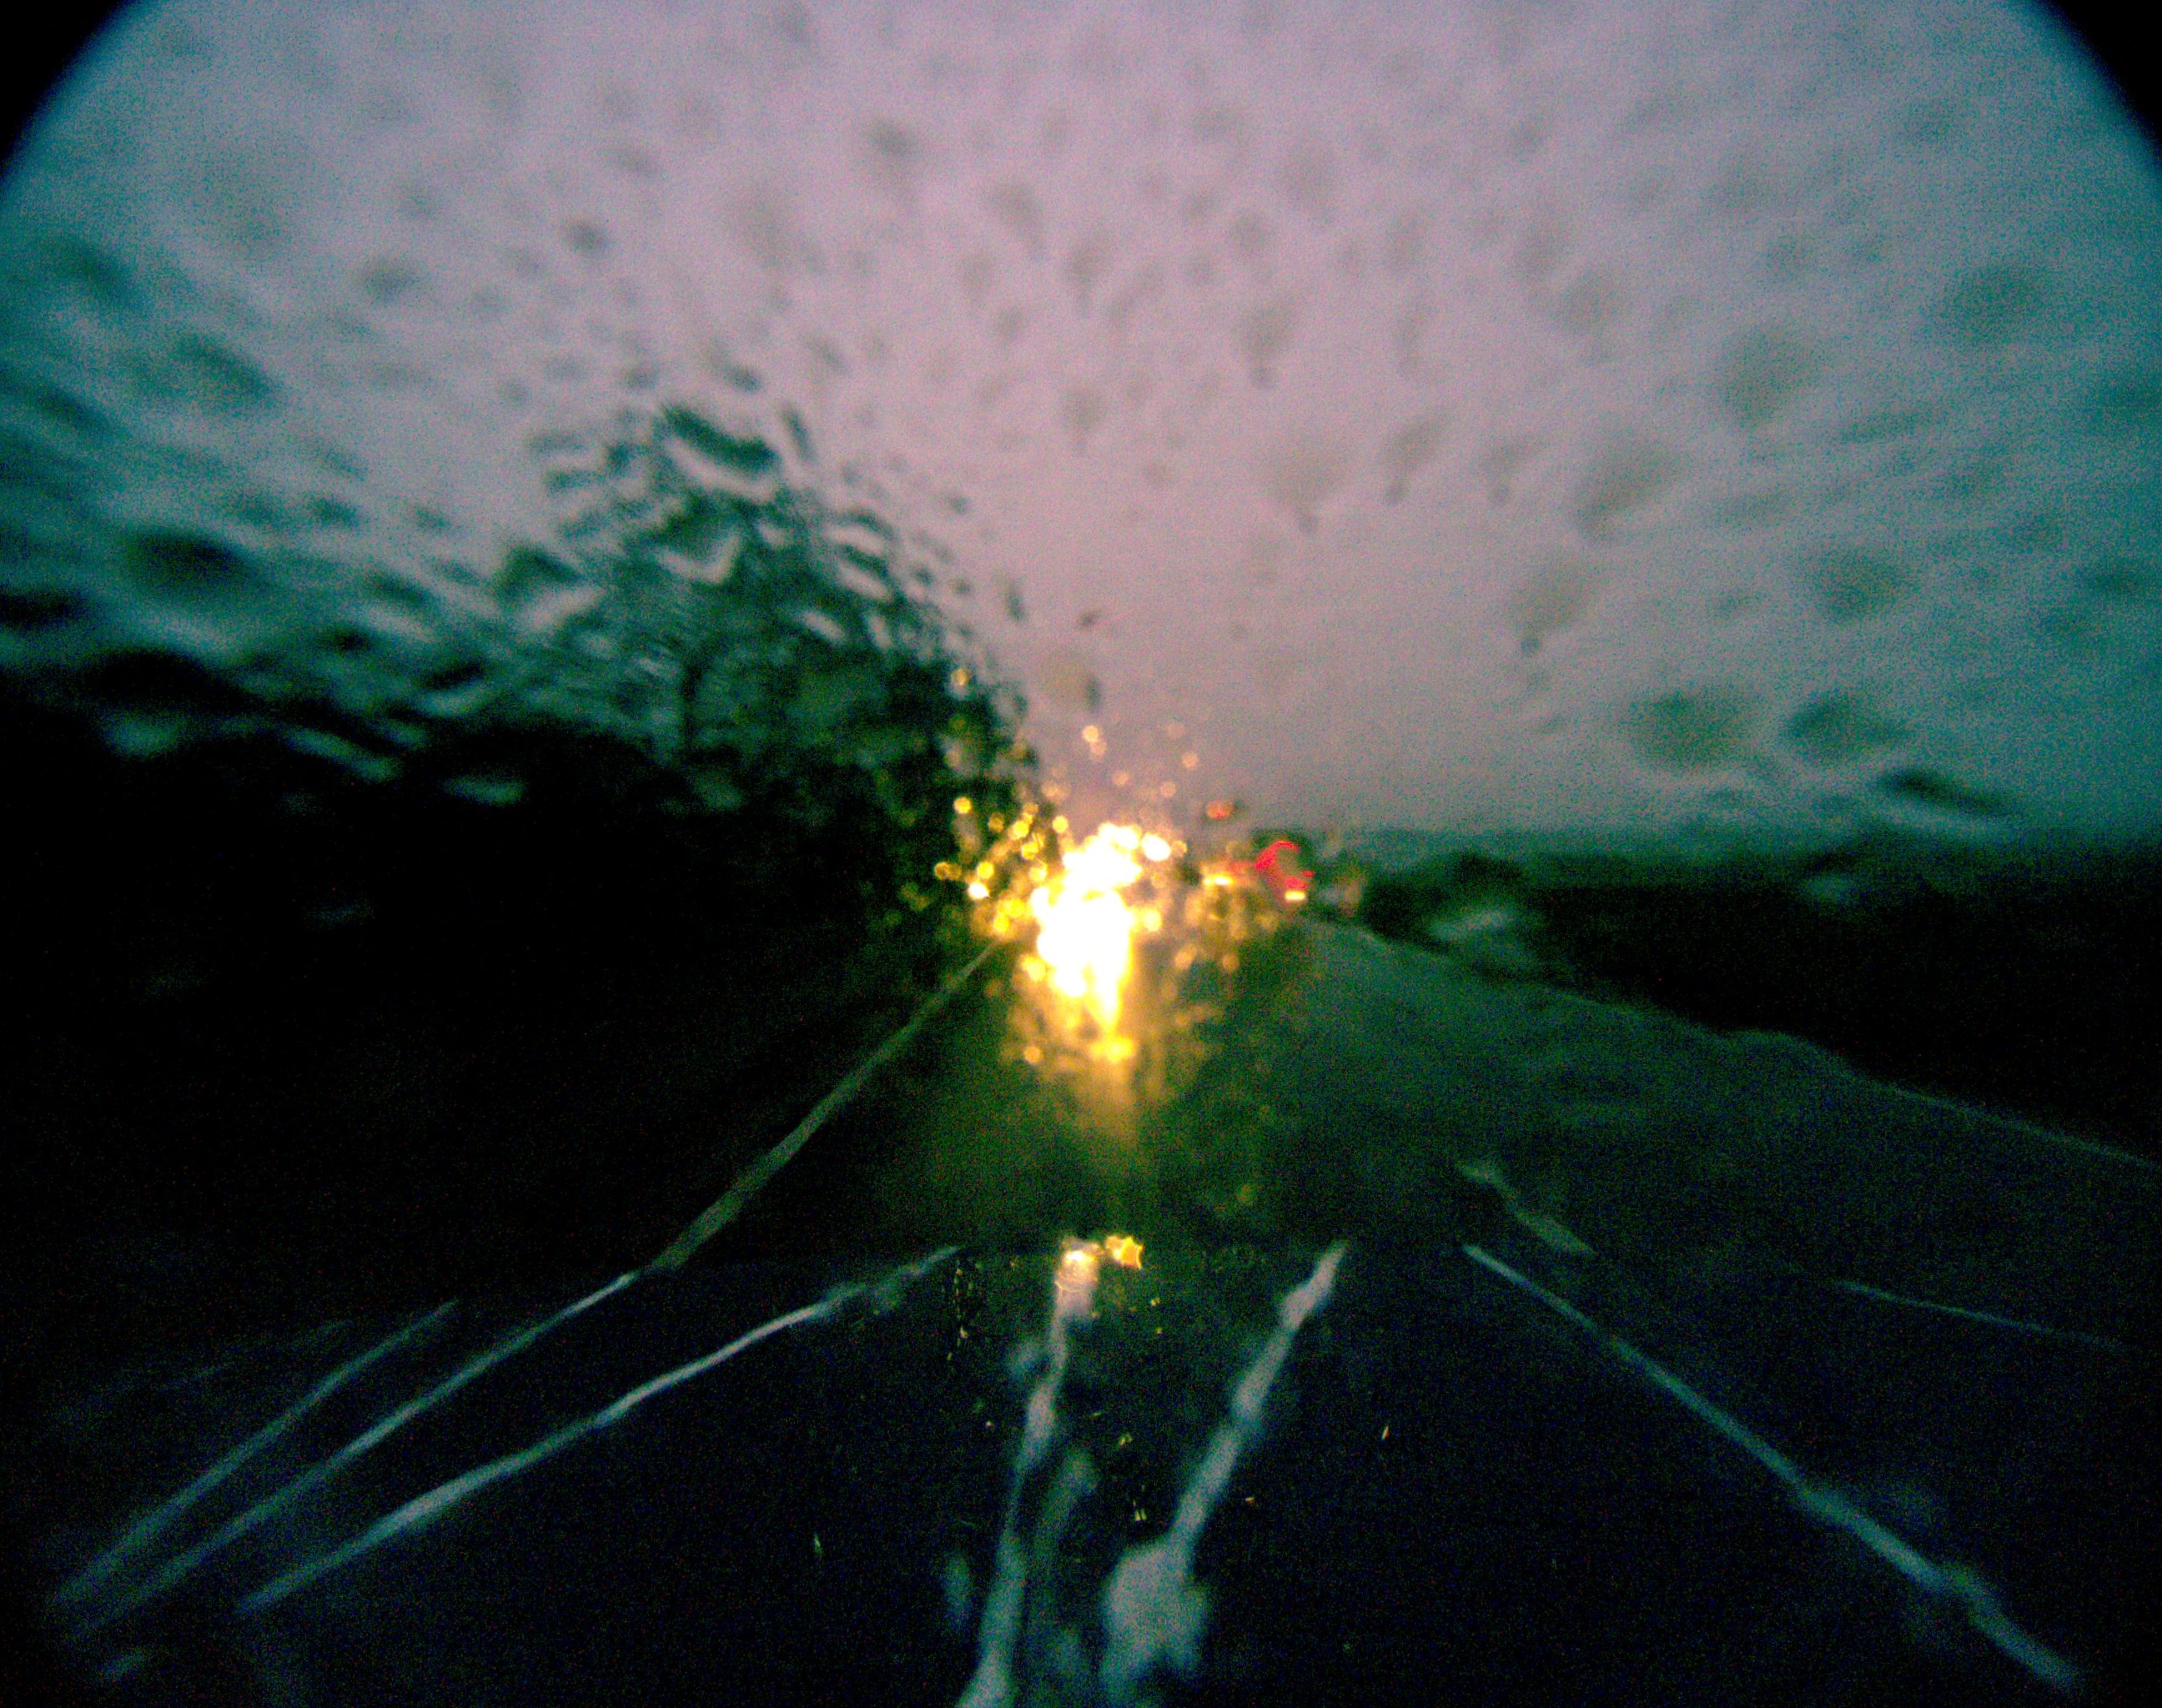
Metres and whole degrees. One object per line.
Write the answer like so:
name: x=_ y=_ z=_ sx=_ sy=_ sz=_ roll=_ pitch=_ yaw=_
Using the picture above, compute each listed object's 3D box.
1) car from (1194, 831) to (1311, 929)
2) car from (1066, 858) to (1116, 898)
car: x=3.918 y=0.527 z=18.116 sx=1.871 sy=2.041 sz=4.293 roll=-1 pitch=0 yaw=1
car: x=0.367 y=0.956 z=31.245 sx=1.844 sy=1.484 sz=3.957 roll=-2 pitch=-1 yaw=-1
